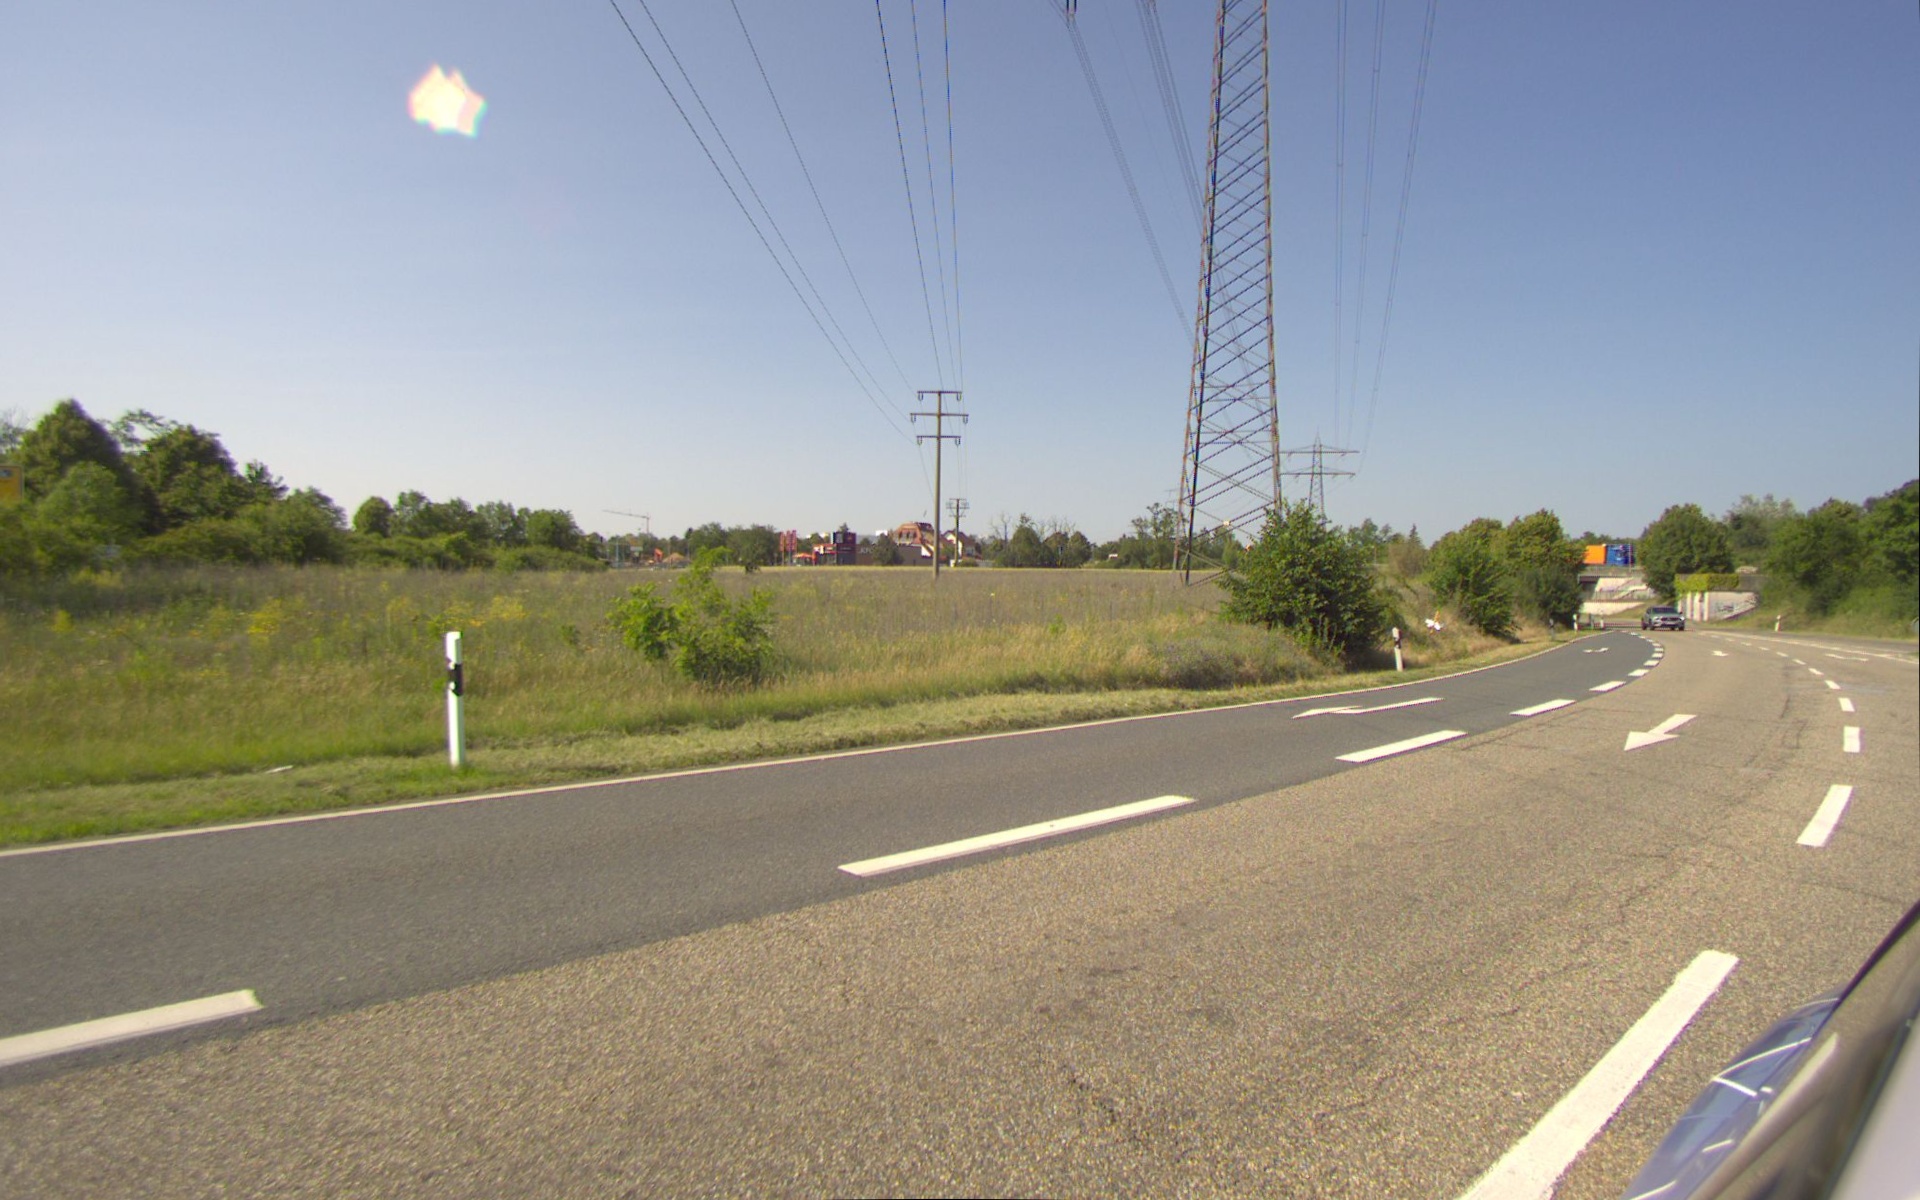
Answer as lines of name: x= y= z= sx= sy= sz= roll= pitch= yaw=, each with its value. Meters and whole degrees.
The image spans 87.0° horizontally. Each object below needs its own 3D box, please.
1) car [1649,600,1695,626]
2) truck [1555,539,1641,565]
car: x=46.766 y=0.824 z=66.535 sx=1.842 sy=1.640 sz=3.615 roll=1 pitch=0 yaw=26
truck: x=91.685 y=-6.774 z=145.785 sx=2.117 sy=3.224 sz=11.303 roll=0 pitch=0 yaw=-24
